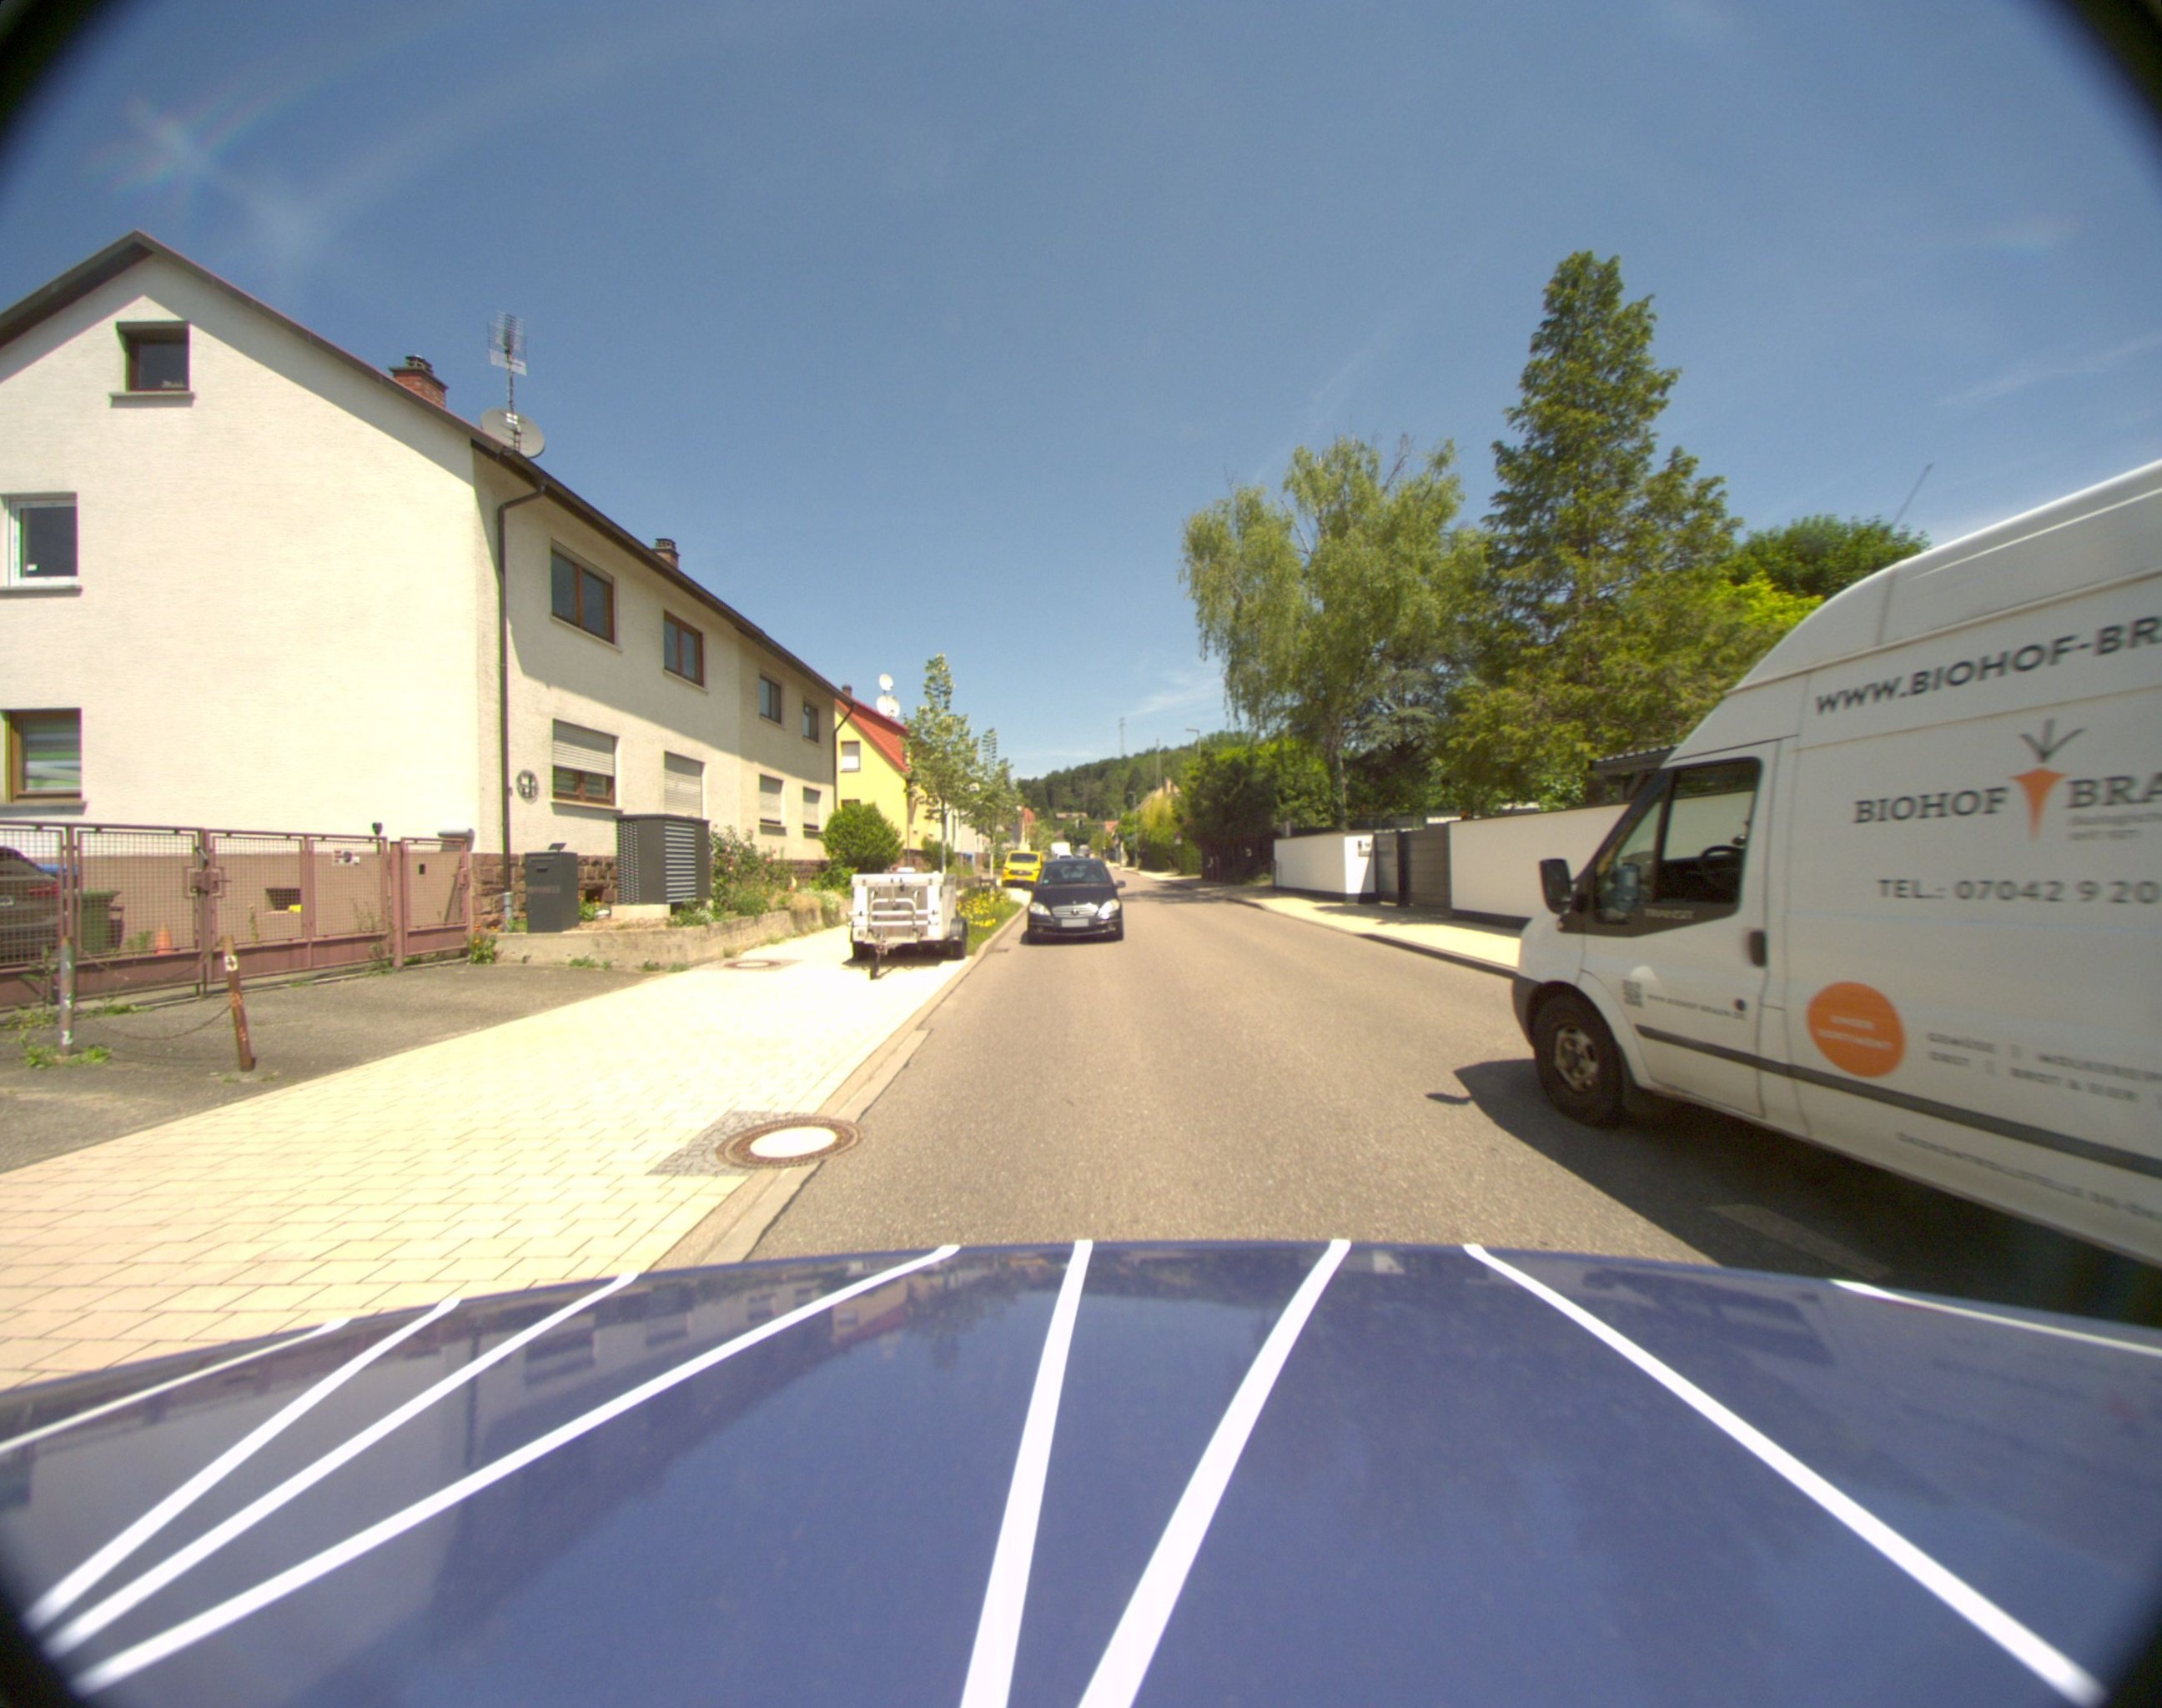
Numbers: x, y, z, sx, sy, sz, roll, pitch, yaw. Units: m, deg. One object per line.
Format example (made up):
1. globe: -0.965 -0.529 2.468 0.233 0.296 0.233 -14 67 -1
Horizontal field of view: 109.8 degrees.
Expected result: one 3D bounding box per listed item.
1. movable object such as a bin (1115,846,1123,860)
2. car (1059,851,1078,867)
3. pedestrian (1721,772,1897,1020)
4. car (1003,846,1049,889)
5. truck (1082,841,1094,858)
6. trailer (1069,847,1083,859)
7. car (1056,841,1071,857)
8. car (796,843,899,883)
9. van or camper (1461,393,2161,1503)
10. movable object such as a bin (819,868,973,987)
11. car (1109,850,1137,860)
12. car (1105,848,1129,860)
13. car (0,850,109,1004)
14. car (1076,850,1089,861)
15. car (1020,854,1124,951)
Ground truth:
1. movable object such as a bin: 5.901 -0.162 116.950 1.062 2.002 1.322 -3 1 -1
2. car: -1.450 0.573 87.184 1.999 1.716 3.999 -3 1 -2
3. pedestrian: 6.310 0.341 6.632 0.722 2.002 0.804 -3 2 0
4. car: -2.878 0.655 41.019 2.195 2.002 5.621 3 1 -2
5. truck: 1.532 -0.936 171.078 2.548 3.716 8.621 -1 0 1
6. trailer: -0.906 -0.192 138.725 2.161 1.975 6.199 -3 1 -2
7. car: -2.526 -0.684 109.493 1.987 2.170 3.999 -3 1 0
8. car: -10.363 0.391 33.946 3.998 1.667 1.873 2 0 -3
9. van or camper: 3.623 0.204 2.102 2.043 2.698 5.822 -3 1 -1
10. movable object such as a bin: -2.593 0.976 11.314 1.576 1.408 3.040 -1 1 -1
11. car: 6.583 0.160 118.650 4.040 1.491 1.707 -2 2 38
12. car: 5.856 -0.022 122.849 3.606 1.780 1.847 -3 1 -2
13. car: -13.347 0.771 7.841 3.997 1.595 1.999 0 1 0
14. car: 0.255 0.224 120.791 1.872 1.643 3.948 -3 0 -1
15. car: -0.139 0.874 15.974 1.767 1.572 4.930 -3 1 1
